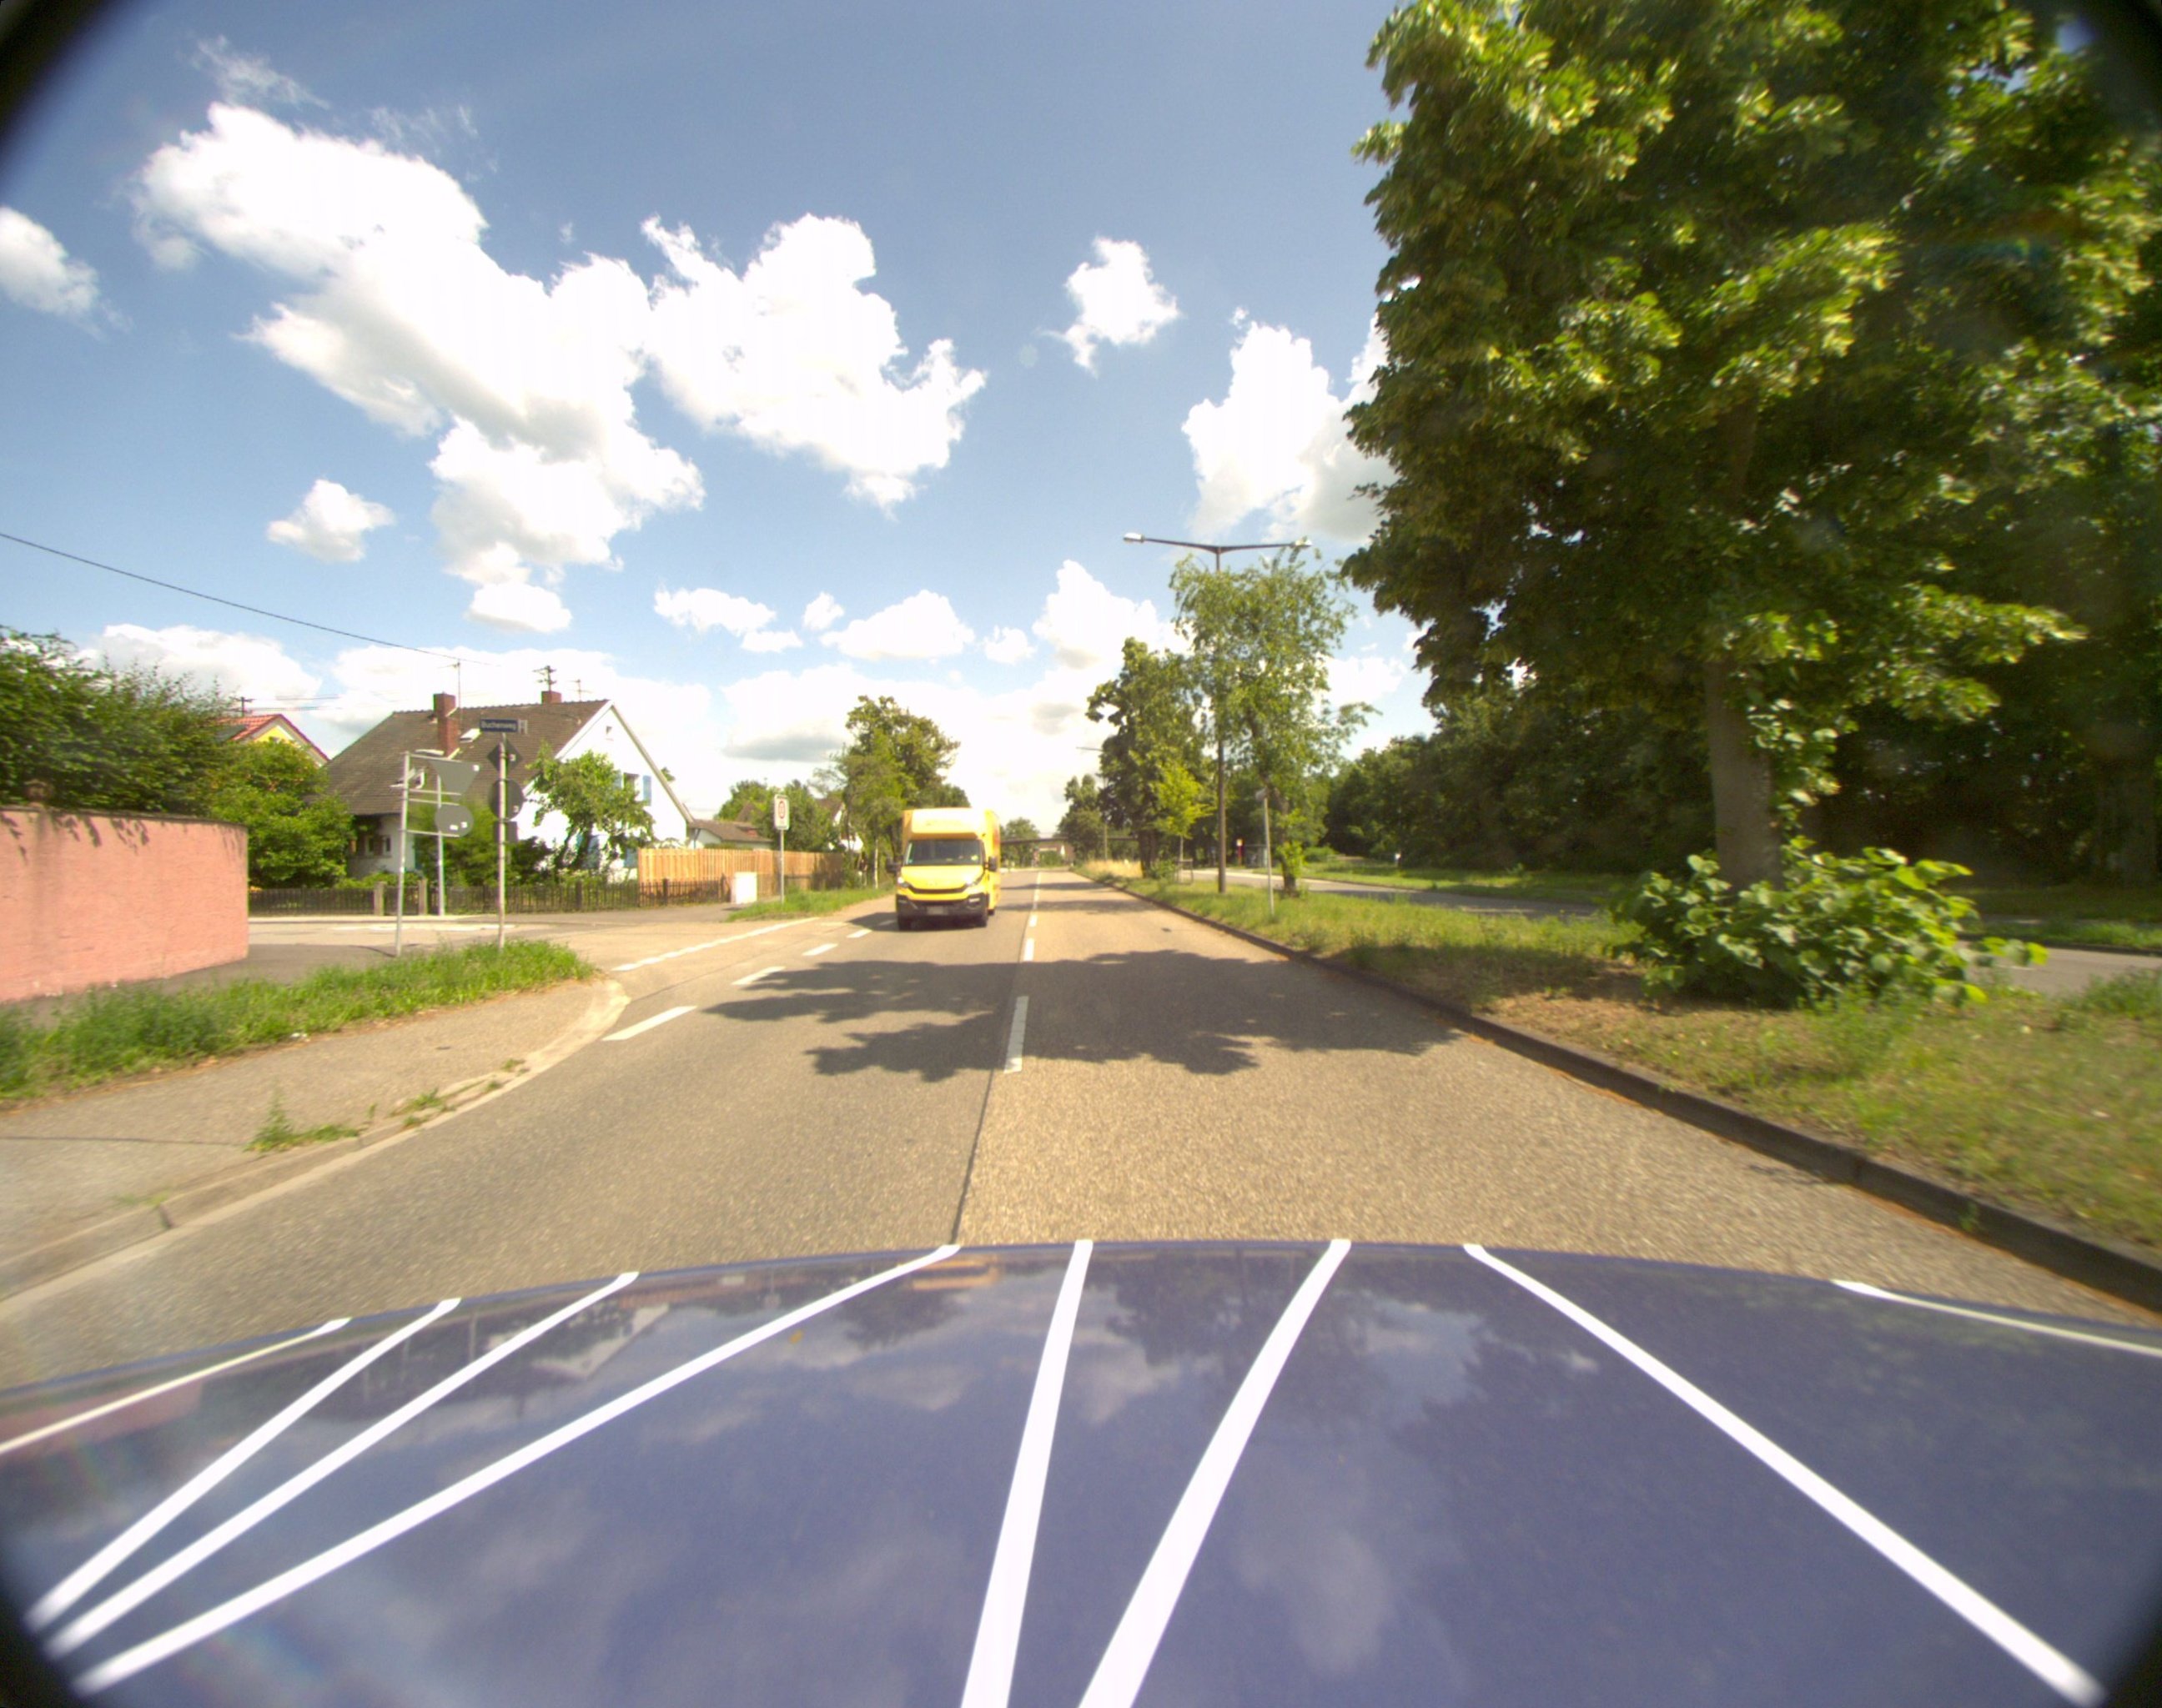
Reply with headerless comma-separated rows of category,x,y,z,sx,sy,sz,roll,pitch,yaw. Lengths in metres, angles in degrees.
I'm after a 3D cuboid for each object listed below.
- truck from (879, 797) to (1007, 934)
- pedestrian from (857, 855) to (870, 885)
truck,-3.348,0.301,20.348,2.271,2.863,8.026,-2,-1,-3
pedestrian,-12.332,0.909,43.045,0.561,1.667,0.634,-1,0,-3
